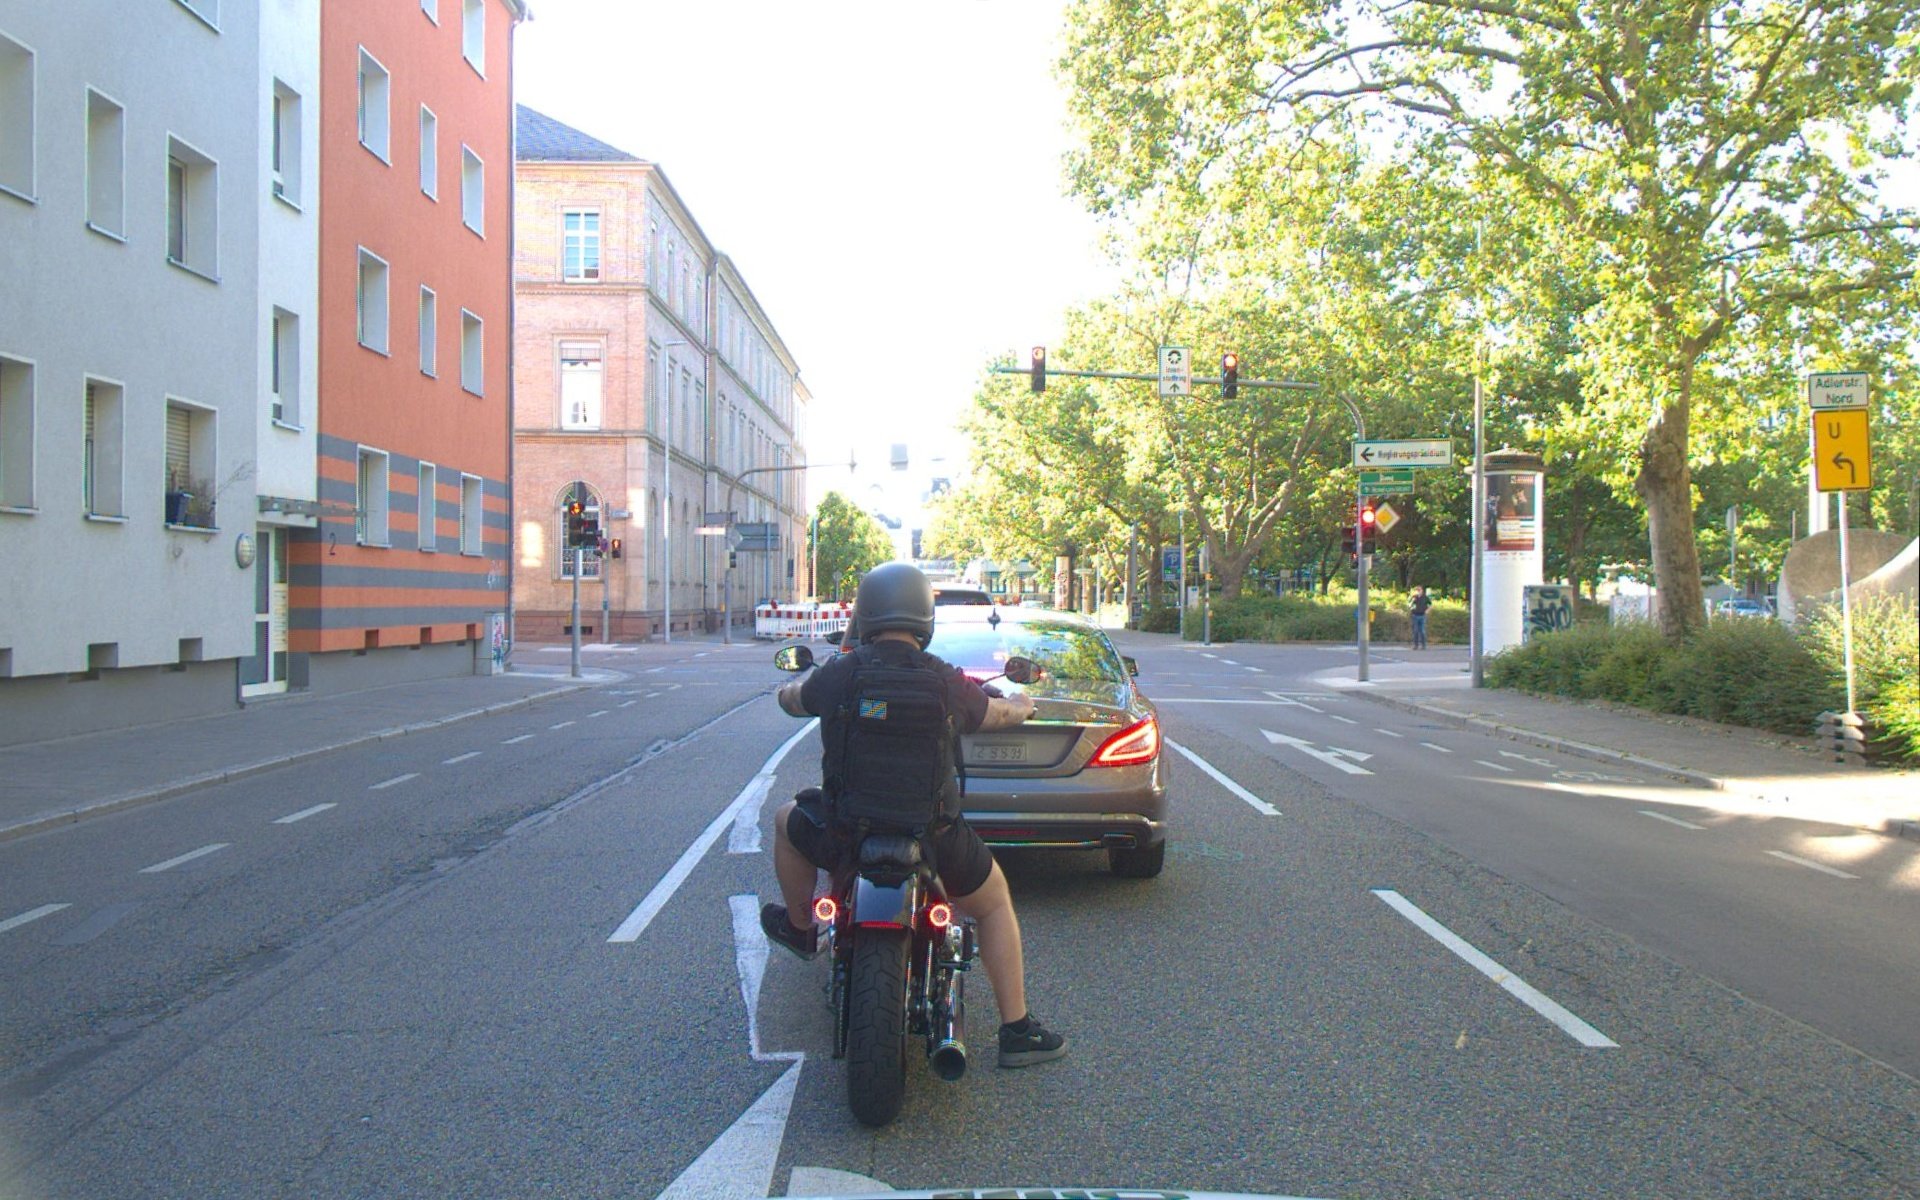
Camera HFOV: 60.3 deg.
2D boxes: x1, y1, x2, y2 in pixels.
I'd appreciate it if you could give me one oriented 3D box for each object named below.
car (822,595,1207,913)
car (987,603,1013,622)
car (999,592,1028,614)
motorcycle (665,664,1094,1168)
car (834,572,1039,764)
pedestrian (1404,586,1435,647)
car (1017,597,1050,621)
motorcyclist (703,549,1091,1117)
[{"bbox_3d":[0.232,0.732,9.664,1.785,1.462,3.805,1,0,-1],"label":"car"},{"bbox_3d":[2.725,0.834,112.590,1.598,1.281,3.715,1,0,-1],"label":"car"},{"bbox_3d":[3.257,0.191,101.919,1.598,1.281,3.715,1,0,-1],"label":"car"},{"bbox_3d":[-0.130,0.873,5.492,1.094,1.228,2.213,1,0,5],"label":"motorcycle"},{"bbox_3d":[-0.241,0.623,16.937,1.825,1.707,3.999,1,0,-1],"label":"car"},{"bbox_3d":[13.786,0.491,49.636,0.722,1.809,0.728,1,-1,29],"label":"pedestrian"},{"bbox_3d":[4.073,0.520,92.498,1.598,1.281,3.715,1,0,-1],"label":"car"},{"bbox_3d":[-0.143,0.662,5.272,1.076,1.593,1.072,1,0,5],"label":"motorcyclist"}]
